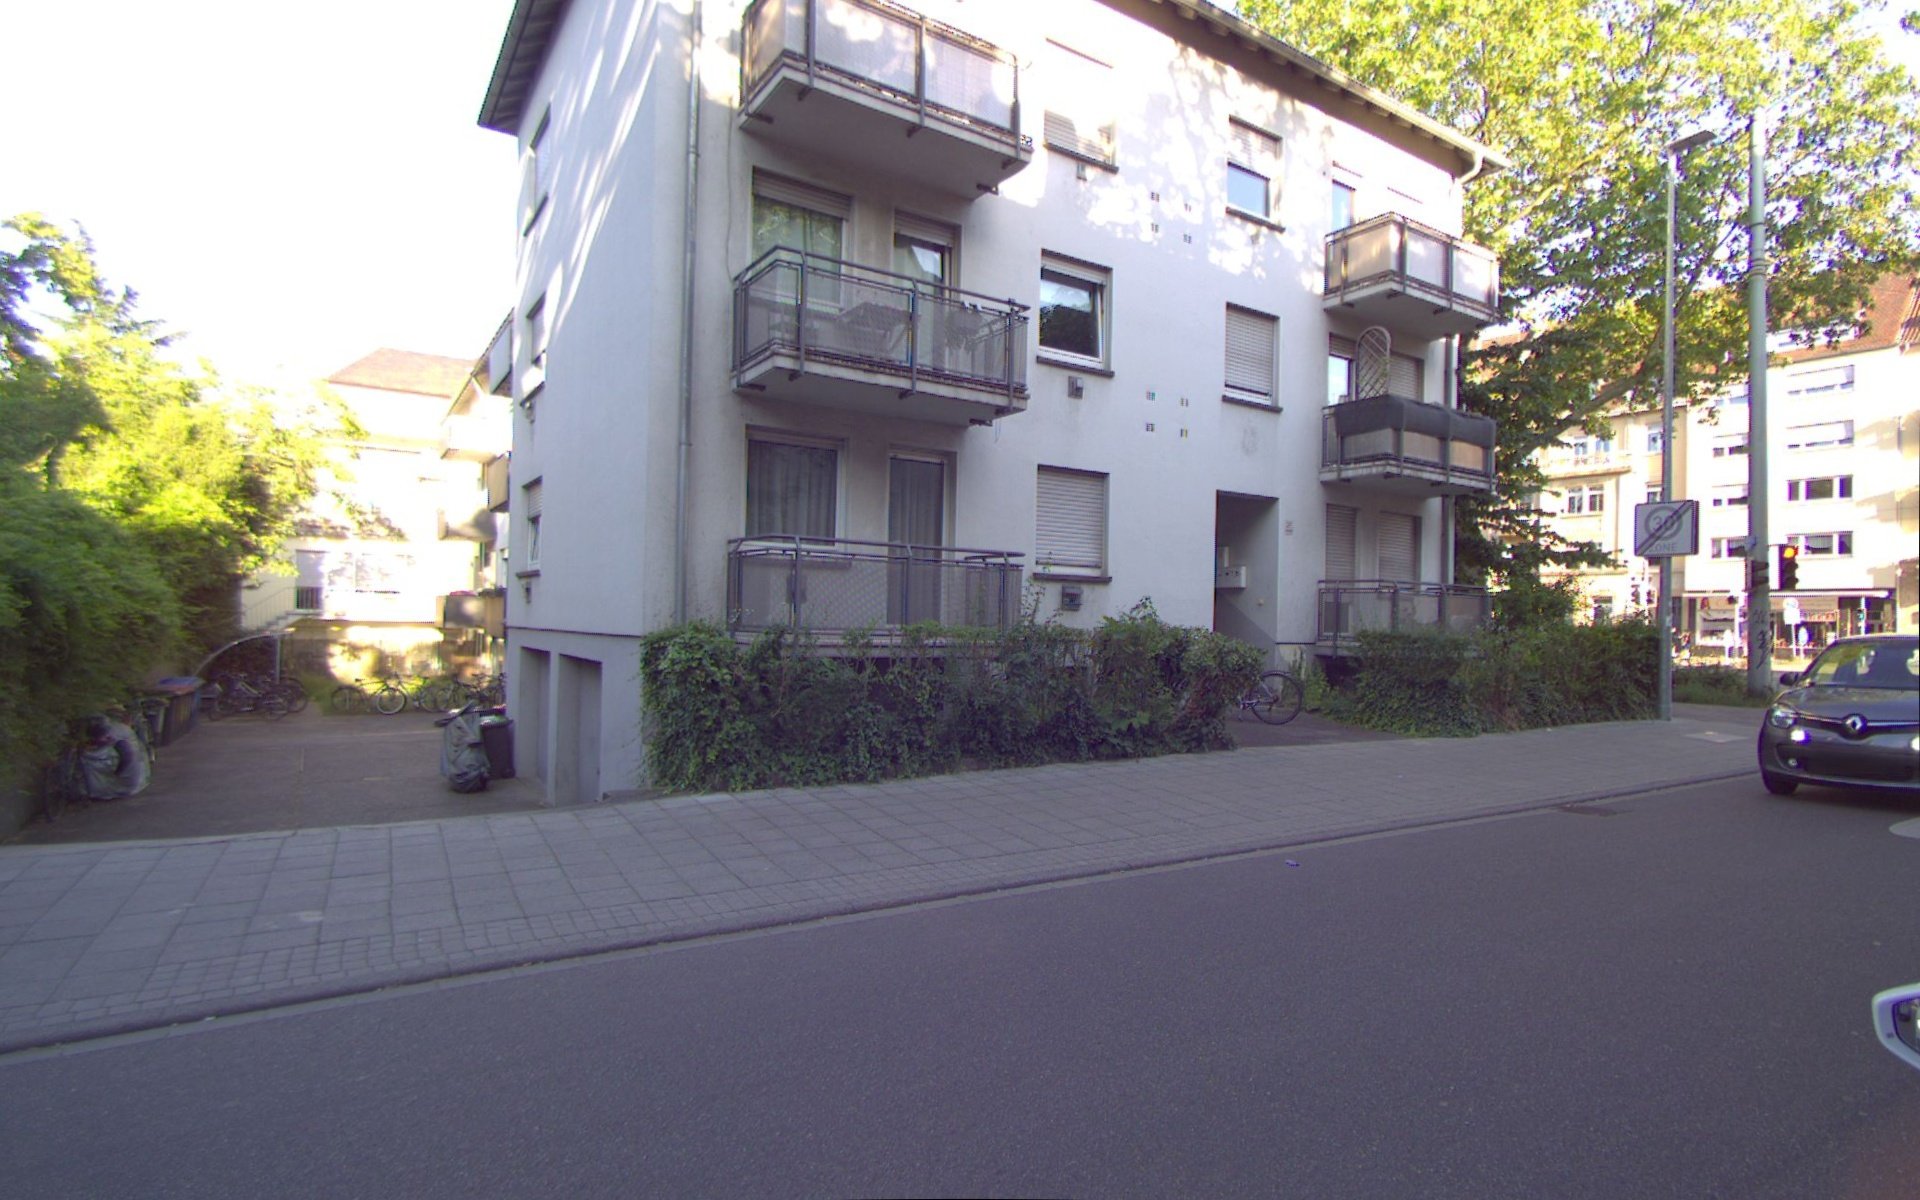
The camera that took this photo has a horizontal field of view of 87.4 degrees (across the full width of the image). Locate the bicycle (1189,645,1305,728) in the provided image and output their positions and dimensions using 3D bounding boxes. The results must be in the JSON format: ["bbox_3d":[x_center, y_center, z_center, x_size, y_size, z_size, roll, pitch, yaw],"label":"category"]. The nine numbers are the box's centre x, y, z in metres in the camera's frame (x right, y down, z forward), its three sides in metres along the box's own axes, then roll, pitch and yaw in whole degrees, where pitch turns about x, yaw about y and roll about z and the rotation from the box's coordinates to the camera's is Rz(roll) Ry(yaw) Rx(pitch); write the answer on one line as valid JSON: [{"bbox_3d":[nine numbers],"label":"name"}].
[{"bbox_3d":[3.888,1.156,13.616,1.433,0.988,0.407,3,0,21],"label":"bicycle"}]

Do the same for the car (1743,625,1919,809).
[{"bbox_3d":[9.343,1.032,9.788,3.553,1.521,1.606,1,-1,-32],"label":"car"}]

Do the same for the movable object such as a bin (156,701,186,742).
[{"bbox_3d":[-15.624,2.397,19.897,0.393,0.784,0.361,2,-4,-30],"label":"movable object such as a bin"}]

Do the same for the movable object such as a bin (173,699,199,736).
[{"bbox_3d":[-16.397,2.485,21.288,0.362,0.768,0.361,2,-4,-30],"label":"movable object such as a bin"}]

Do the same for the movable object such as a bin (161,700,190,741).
[{"bbox_3d":[-15.818,2.426,20.256,0.377,0.784,0.361,2,-4,-30],"label":"movable object such as a bin"}]

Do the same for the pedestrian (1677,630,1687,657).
[{"bbox_3d":[42.010,2.532,58.445,0.467,1.531,0.429,0,-1,41],"label":"pedestrian"}]

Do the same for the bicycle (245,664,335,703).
[{"bbox_3d":[-19.012,2.382,28.567,2.045,1.034,0.564,4,0,-30],"label":"bicycle"}]

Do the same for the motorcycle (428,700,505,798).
[{"bbox_3d":[-7.396,2.183,15.024,0.751,1.268,1.578,1,-2,-36],"label":"motorcycle"}]

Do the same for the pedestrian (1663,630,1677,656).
[{"bbox_3d":[41.697,2.540,59.014,0.531,1.531,0.505,1,-1,-34],"label":"pedestrian"}]

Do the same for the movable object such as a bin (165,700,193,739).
[{"bbox_3d":[-16.017,2.451,20.598,0.371,0.768,0.361,2,-4,-30],"label":"movable object such as a bin"}]

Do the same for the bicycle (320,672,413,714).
[{"bbox_3d":[-15.687,2.470,26.616,2.045,1.034,0.637,4,0,-30],"label":"bicycle"}]

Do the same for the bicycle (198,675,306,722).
[{"bbox_3d":[-17.270,2.412,24.553,2.045,1.034,0.637,4,0,-30],"label":"bicycle"}]

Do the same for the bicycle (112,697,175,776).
[{"bbox_3d":[-13.215,2.178,16.296,0.509,1.033,1.922,3,-1,-32],"label":"bicycle"}]

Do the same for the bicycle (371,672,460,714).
[{"bbox_3d":[-14.730,2.527,27.198,2.045,1.034,0.637,4,0,-30],"label":"bicycle"}]

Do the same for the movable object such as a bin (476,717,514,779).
[{"bbox_3d":[-7.495,2.369,16.185,0.428,0.899,0.720,1,-2,-34],"label":"movable object such as a bin"}]

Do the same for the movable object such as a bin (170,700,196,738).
[{"bbox_3d":[-16.203,2.470,20.947,0.362,0.768,0.361,2,-4,-30],"label":"movable object such as a bin"}]

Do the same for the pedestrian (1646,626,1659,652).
[{"bbox_3d":[40.361,2.262,58.540,0.558,1.531,0.499,0,-1,41],"label":"pedestrian"}]

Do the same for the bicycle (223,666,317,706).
[{"bbox_3d":[-18.989,2.378,27.695,2.045,1.034,0.611,4,0,-30],"label":"bicycle"}]

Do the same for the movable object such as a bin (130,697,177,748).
[{"bbox_3d":[-14.945,2.265,18.624,0.570,0.891,0.491,2,-4,-30],"label":"movable object such as a bin"}]

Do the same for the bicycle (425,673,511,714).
[{"bbox_3d":[-13.626,2.595,27.844,2.045,1.034,0.637,4,0,-30],"label":"bicycle"}]

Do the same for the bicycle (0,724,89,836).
[{"bbox_3d":[-11.022,2.108,12.050,0.509,1.033,1.922,3,-1,-32],"label":"bicycle"}]

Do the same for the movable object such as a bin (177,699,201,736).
[{"bbox_3d":[-16.600,2.515,21.629,0.342,0.768,0.361,2,-4,-30],"label":"movable object such as a bin"}]

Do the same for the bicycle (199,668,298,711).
[{"bbox_3d":[-18.854,2.376,26.658,2.045,1.034,0.611,4,0,-30],"label":"bicycle"}]

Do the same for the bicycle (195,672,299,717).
[{"bbox_3d":[-18.022,2.394,25.432,2.045,1.034,0.568,4,0,-30],"label":"bicycle"}]
